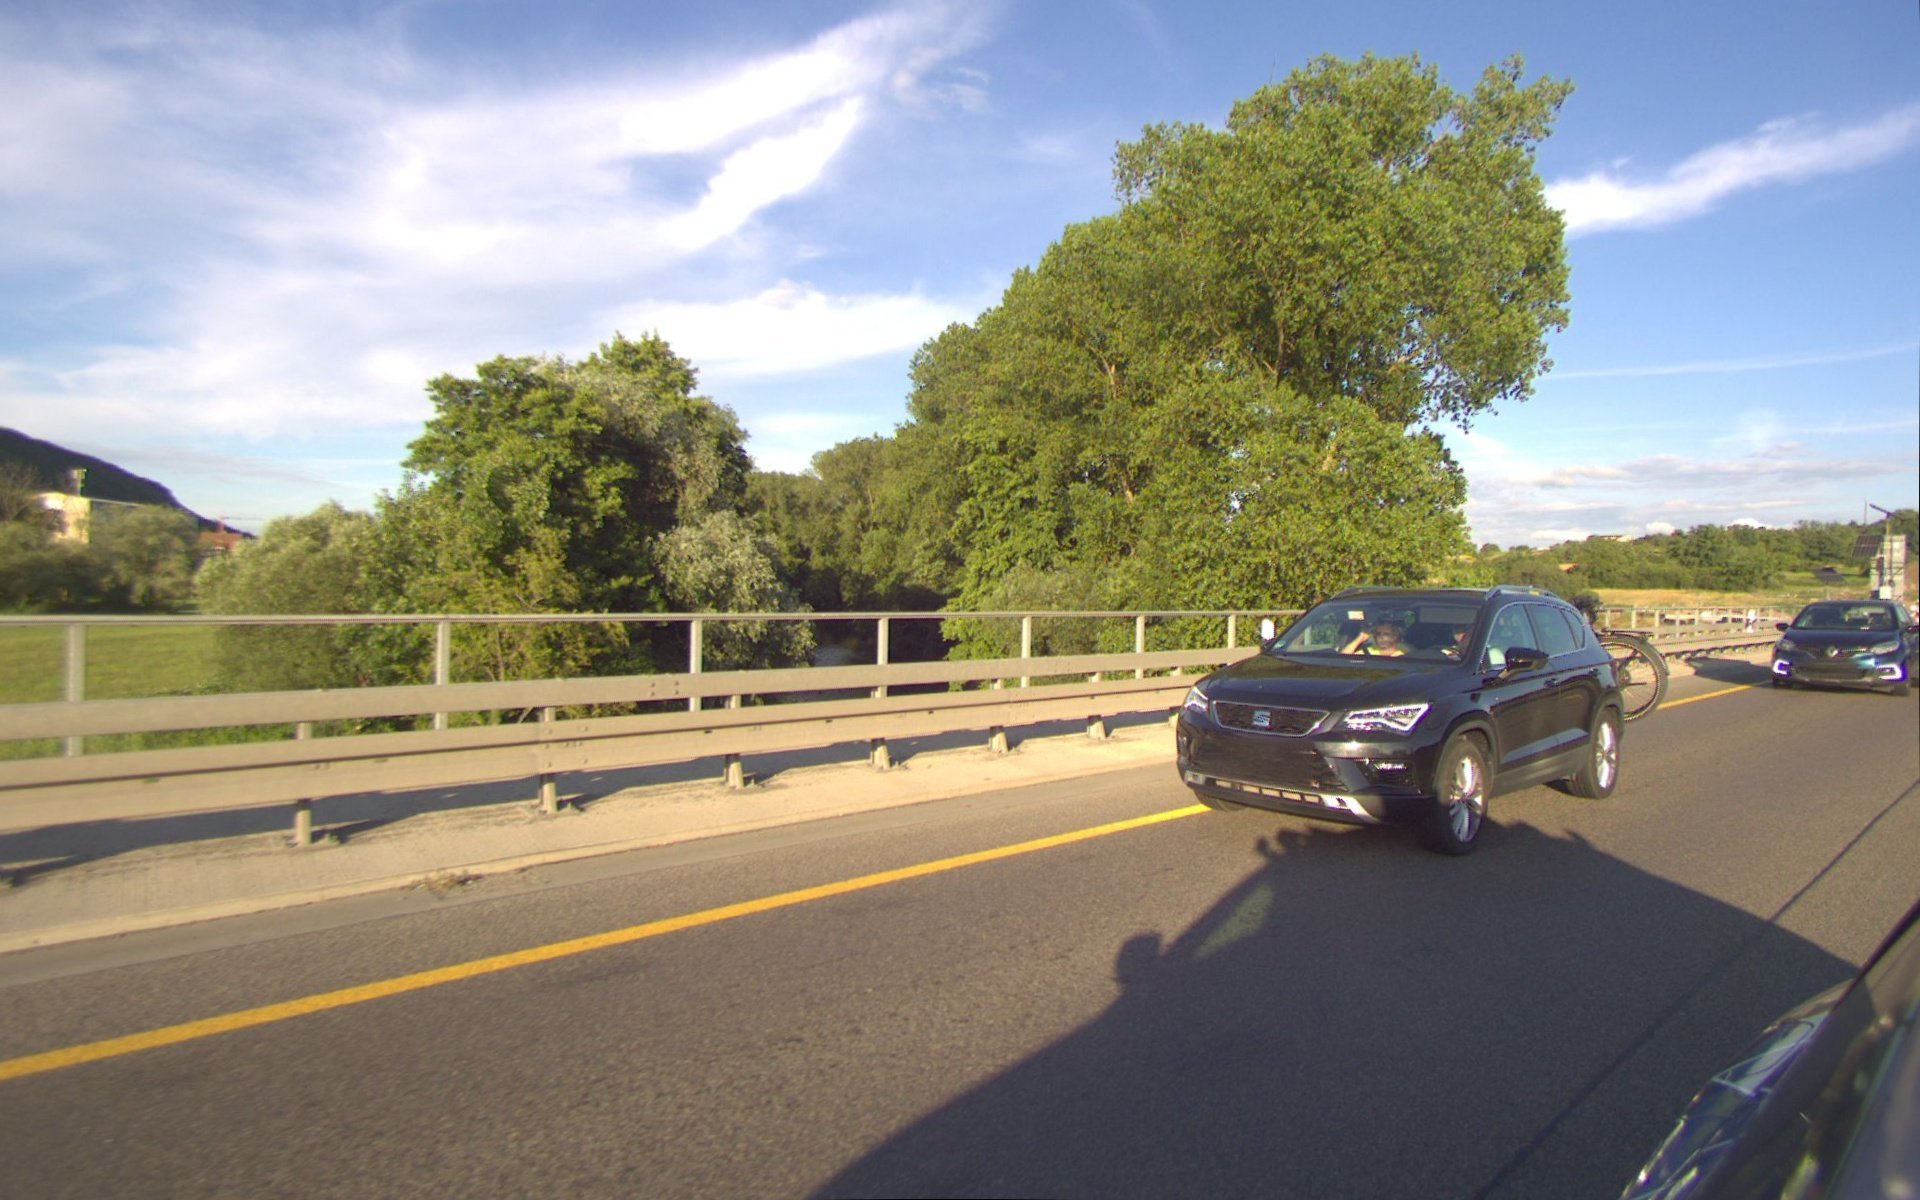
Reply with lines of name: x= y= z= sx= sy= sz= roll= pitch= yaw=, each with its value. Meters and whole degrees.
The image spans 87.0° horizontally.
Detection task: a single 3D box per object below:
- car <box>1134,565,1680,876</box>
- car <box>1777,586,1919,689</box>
car: x=3.597 y=0.607 z=7.595 sx=4.879 sy=1.619 sz=1.878 roll=0 pitch=1 yaw=-41
car: x=15.813 y=0.602 z=17.704 sx=4.064 sy=1.606 sz=1.776 roll=1 pitch=-1 yaw=-42
